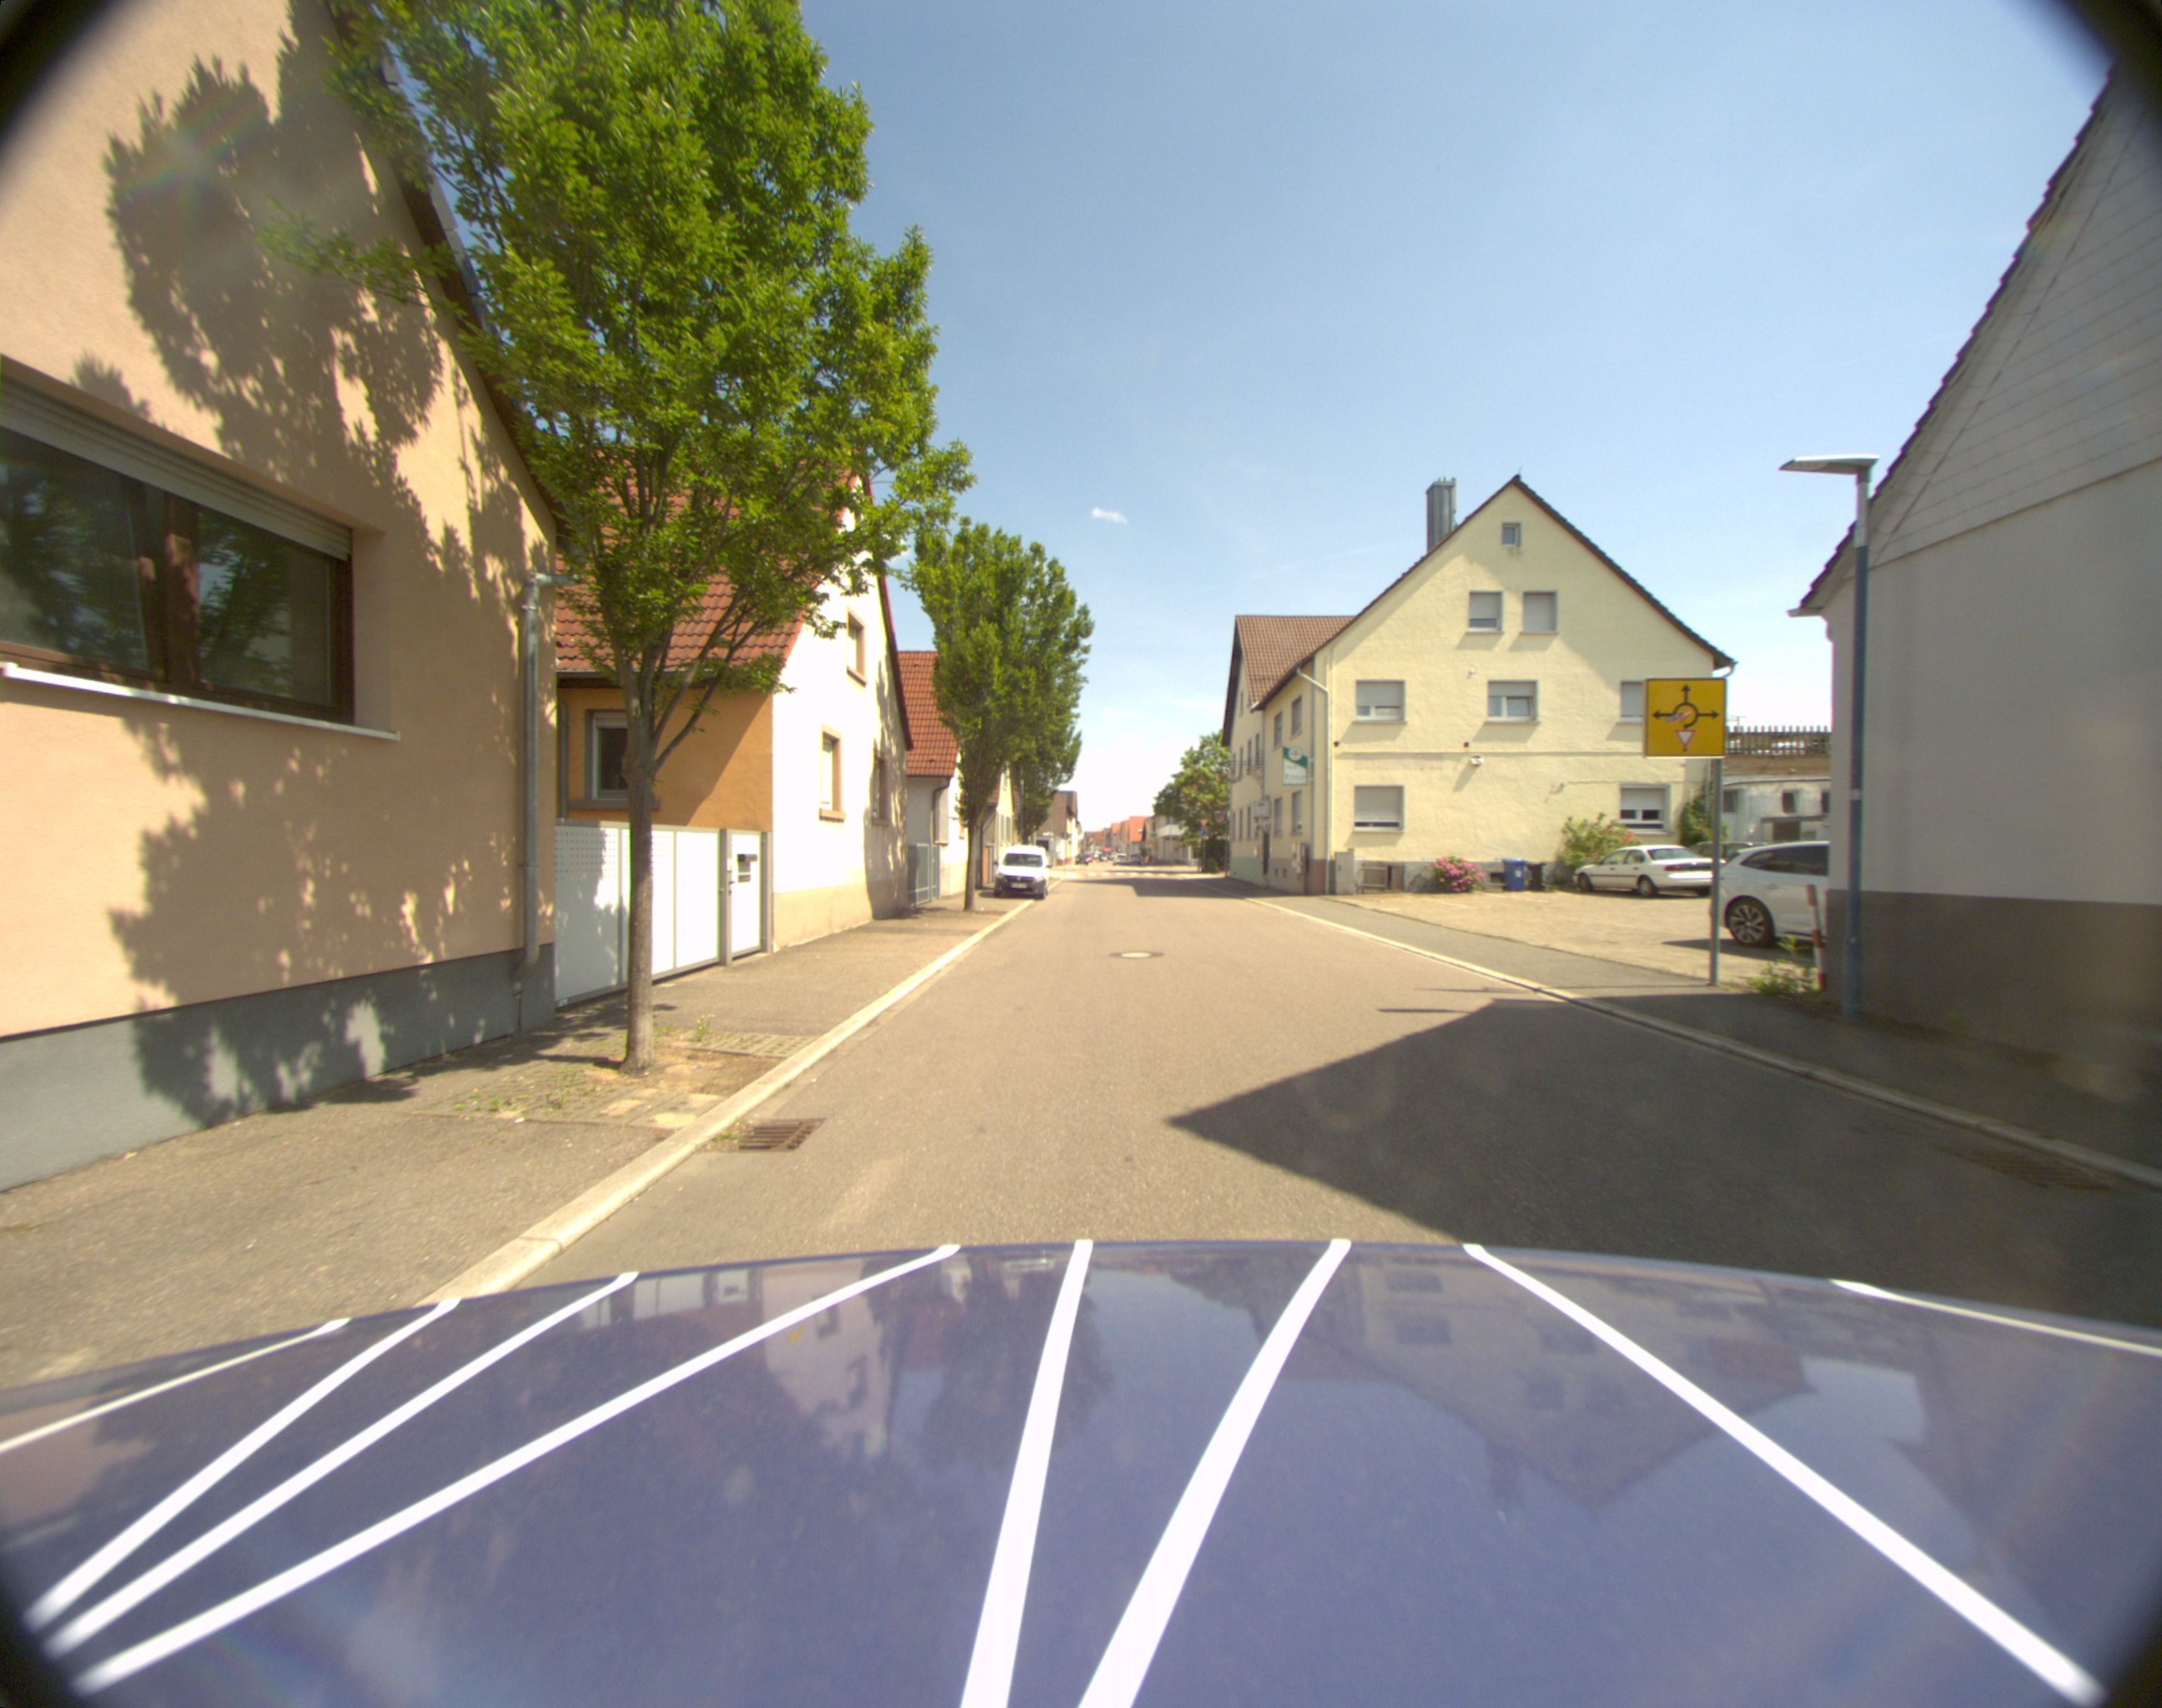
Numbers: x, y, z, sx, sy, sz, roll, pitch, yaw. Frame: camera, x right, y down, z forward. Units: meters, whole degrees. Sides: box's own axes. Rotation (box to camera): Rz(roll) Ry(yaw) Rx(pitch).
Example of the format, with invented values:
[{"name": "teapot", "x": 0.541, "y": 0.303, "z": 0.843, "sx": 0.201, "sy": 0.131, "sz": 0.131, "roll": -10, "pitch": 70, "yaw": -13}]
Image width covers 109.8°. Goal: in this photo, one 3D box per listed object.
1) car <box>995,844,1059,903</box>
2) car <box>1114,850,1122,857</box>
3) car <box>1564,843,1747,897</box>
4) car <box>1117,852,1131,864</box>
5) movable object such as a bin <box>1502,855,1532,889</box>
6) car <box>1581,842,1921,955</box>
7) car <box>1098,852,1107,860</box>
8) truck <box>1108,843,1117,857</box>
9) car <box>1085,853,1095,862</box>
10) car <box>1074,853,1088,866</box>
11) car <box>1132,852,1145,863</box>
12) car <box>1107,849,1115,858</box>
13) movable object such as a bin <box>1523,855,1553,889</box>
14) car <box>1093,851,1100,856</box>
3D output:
[{"name": "car", "x": -1.831, "y": 0.625, "z": 26.980, "sx": 1.692, "sy": 1.832, "sz": 4.764, "roll": 3, "pitch": 1, "yaw": 2}, {"name": "car", "x": 8.021, "y": -0.075, "z": 166.271, "sx": 1.726, "sy": 1.385, "sz": 4.171, "roll": 0, "pitch": -2, "yaw": 3}, {"name": "car", "x": 16.398, "y": 0.386, "z": 22.081, "sx": 1.828, "sy": 1.372, "sz": 4.830, "roll": -1, "pitch": 0, "yaw": 2}, {"name": "car", "x": 5.267, "y": 0.429, "z": 93.393, "sx": 1.598, "sy": 1.385, "sz": 4.168, "roll": 0, "pitch": 1, "yaw": 1}, {"name": "movable object such as a bin", "x": 14.129, "y": 0.581, "z": 24.627, "sx": 0.578, "sy": 1.066, "sz": 0.680, "roll": -1, "pitch": 1, "yaw": 3}, {"name": "car", "x": 10.799, "y": 0.600, "z": 12.817, "sx": 1.778, "sy": 1.561, "sz": 4.478, "roll": -1, "pitch": 0, "yaw": 0}, {"name": "car", "x": 3.720, "y": 0.345, "z": 132.337, "sx": 1.598, "sy": 1.385, "sz": 4.168, "roll": 0, "pitch": 1, "yaw": 1}, {"name": "truck", "x": 8.239, "y": -1.124, "z": 199.974, "sx": 1.999, "sy": 3.420, "sz": 7.074, "roll": -1, "pitch": 1, "yaw": -1}, {"name": "car", "x": 1.449, "y": 0.563, "z": 122.444, "sx": 1.598, "sy": 1.385, "sz": 4.170, "roll": 0, "pitch": -2, "yaw": 2}, {"name": "car", "x": 0.022, "y": 0.698, "z": 94.752, "sx": 1.598, "sy": 1.385, "sz": 4.170, "roll": 0, "pitch": -2, "yaw": 2}, {"name": "car", "x": 8.005, "y": 0.451, "z": 105.335, "sx": 1.726, "sy": 1.385, "sz": 4.171, "roll": 0, "pitch": -2, "yaw": 3}, {"name": "car", "x": 7.348, "y": -0.076, "z": 184.973, "sx": 1.727, "sy": 2.097, "sz": 4.168, "roll": -1, "pitch": 1, "yaw": 0}, {"name": "movable object such as a bin", "x": 14.833, "y": 0.575, "z": 24.673, "sx": 0.578, "sy": 1.066, "sz": 0.680, "roll": -1, "pitch": 1, "yaw": 3}, {"name": "car", "x": 3.973, "y": -0.102, "z": 193.814, "sx": 1.598, "sy": 1.385, "sz": 4.168, "roll": 0, "pitch": 0, "yaw": 0}]
